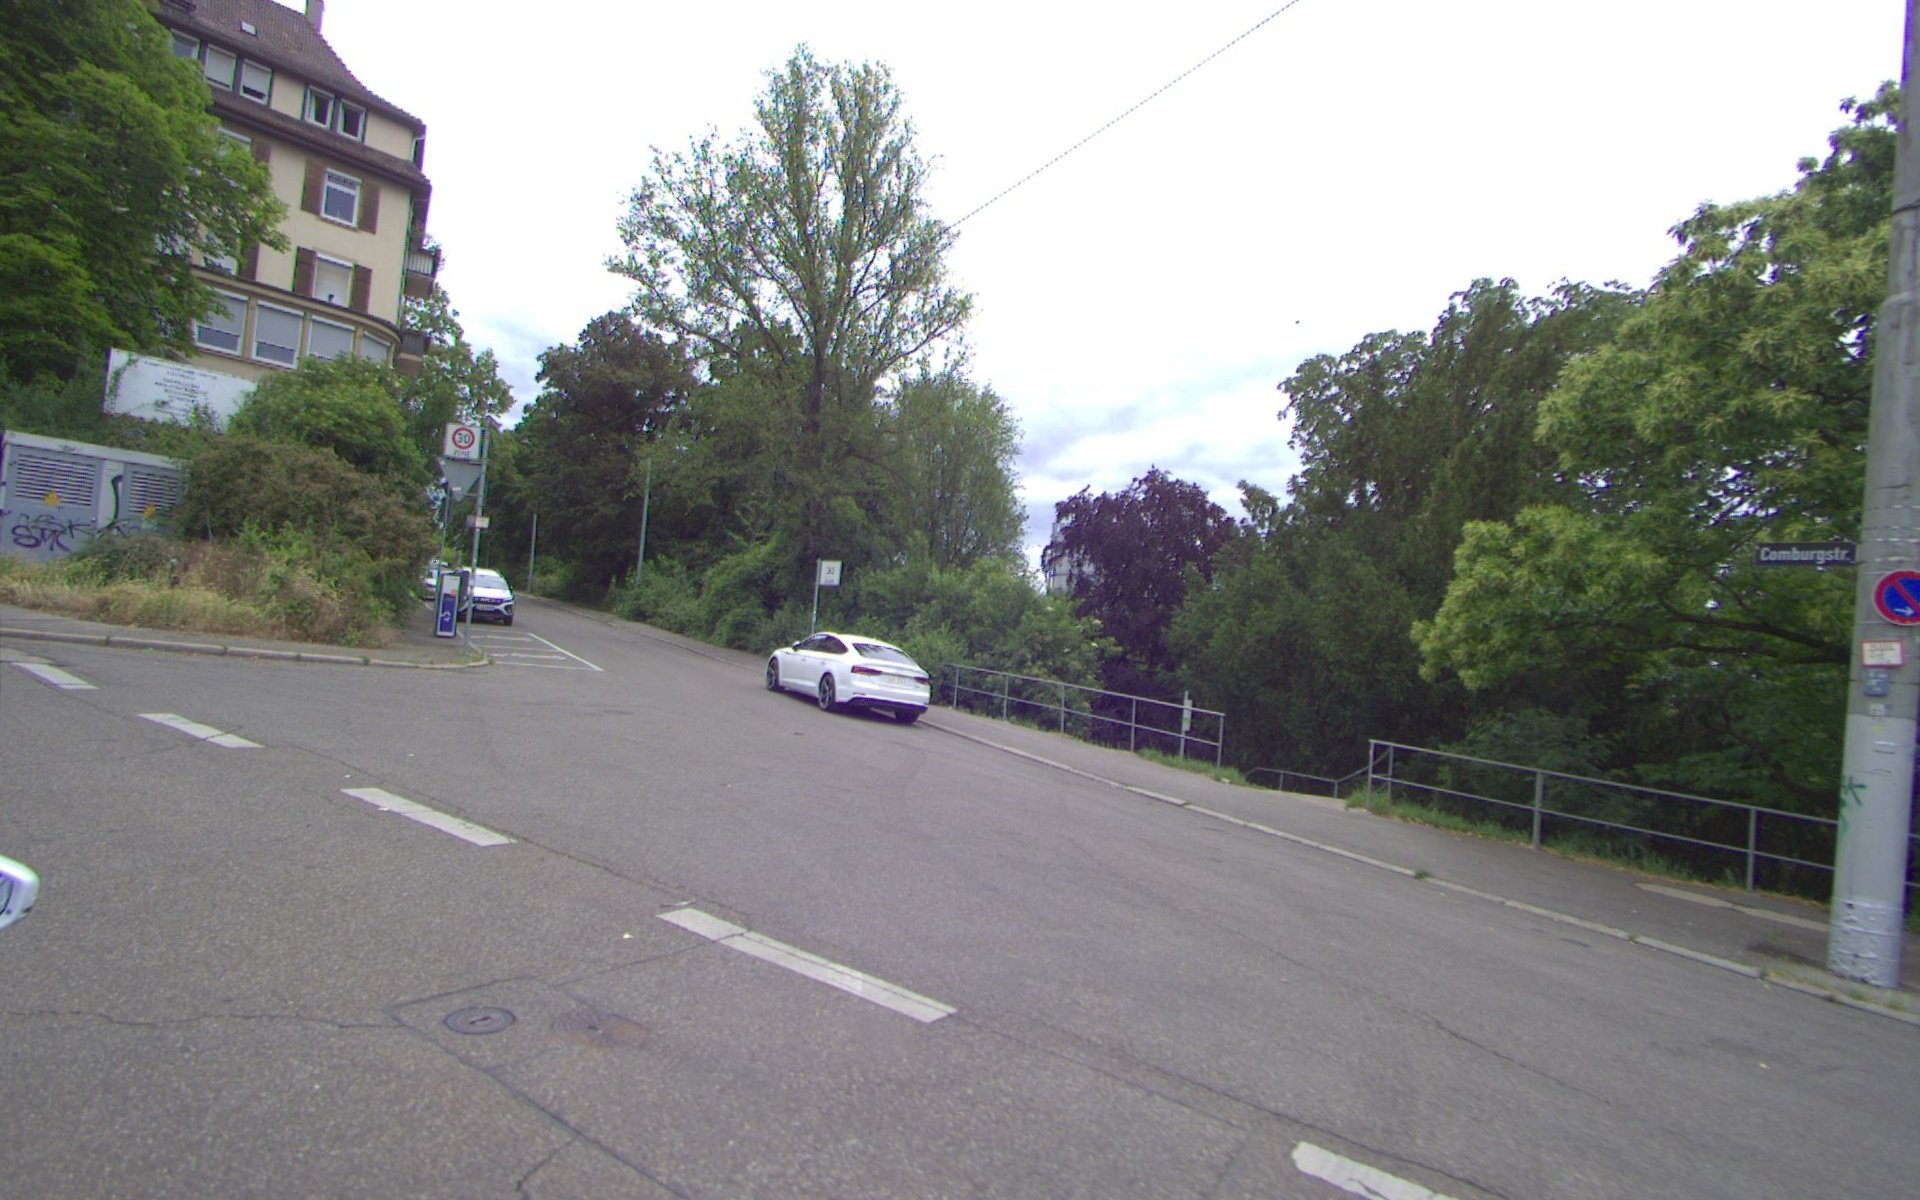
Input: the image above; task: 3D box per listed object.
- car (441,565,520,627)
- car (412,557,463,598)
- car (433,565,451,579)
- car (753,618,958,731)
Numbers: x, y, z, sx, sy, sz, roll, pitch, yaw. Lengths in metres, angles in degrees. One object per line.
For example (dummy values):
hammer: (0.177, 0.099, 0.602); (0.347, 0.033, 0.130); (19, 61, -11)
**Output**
car: (-14.907, -0.168, 31.153); (1.826, 1.552, 4.473); (8, -2, -29)
car: (-23.028, -1.004, 44.253); (1.731, 1.559, 3.759); (6, -1, -30)
car: (-64.958, -3.475, 126.036); (1.731, 1.559, 3.759); (6, -1, -30)
car: (-2.102, 1.317, 18.884); (1.883, 1.395, 4.563); (12, -3, -31)
